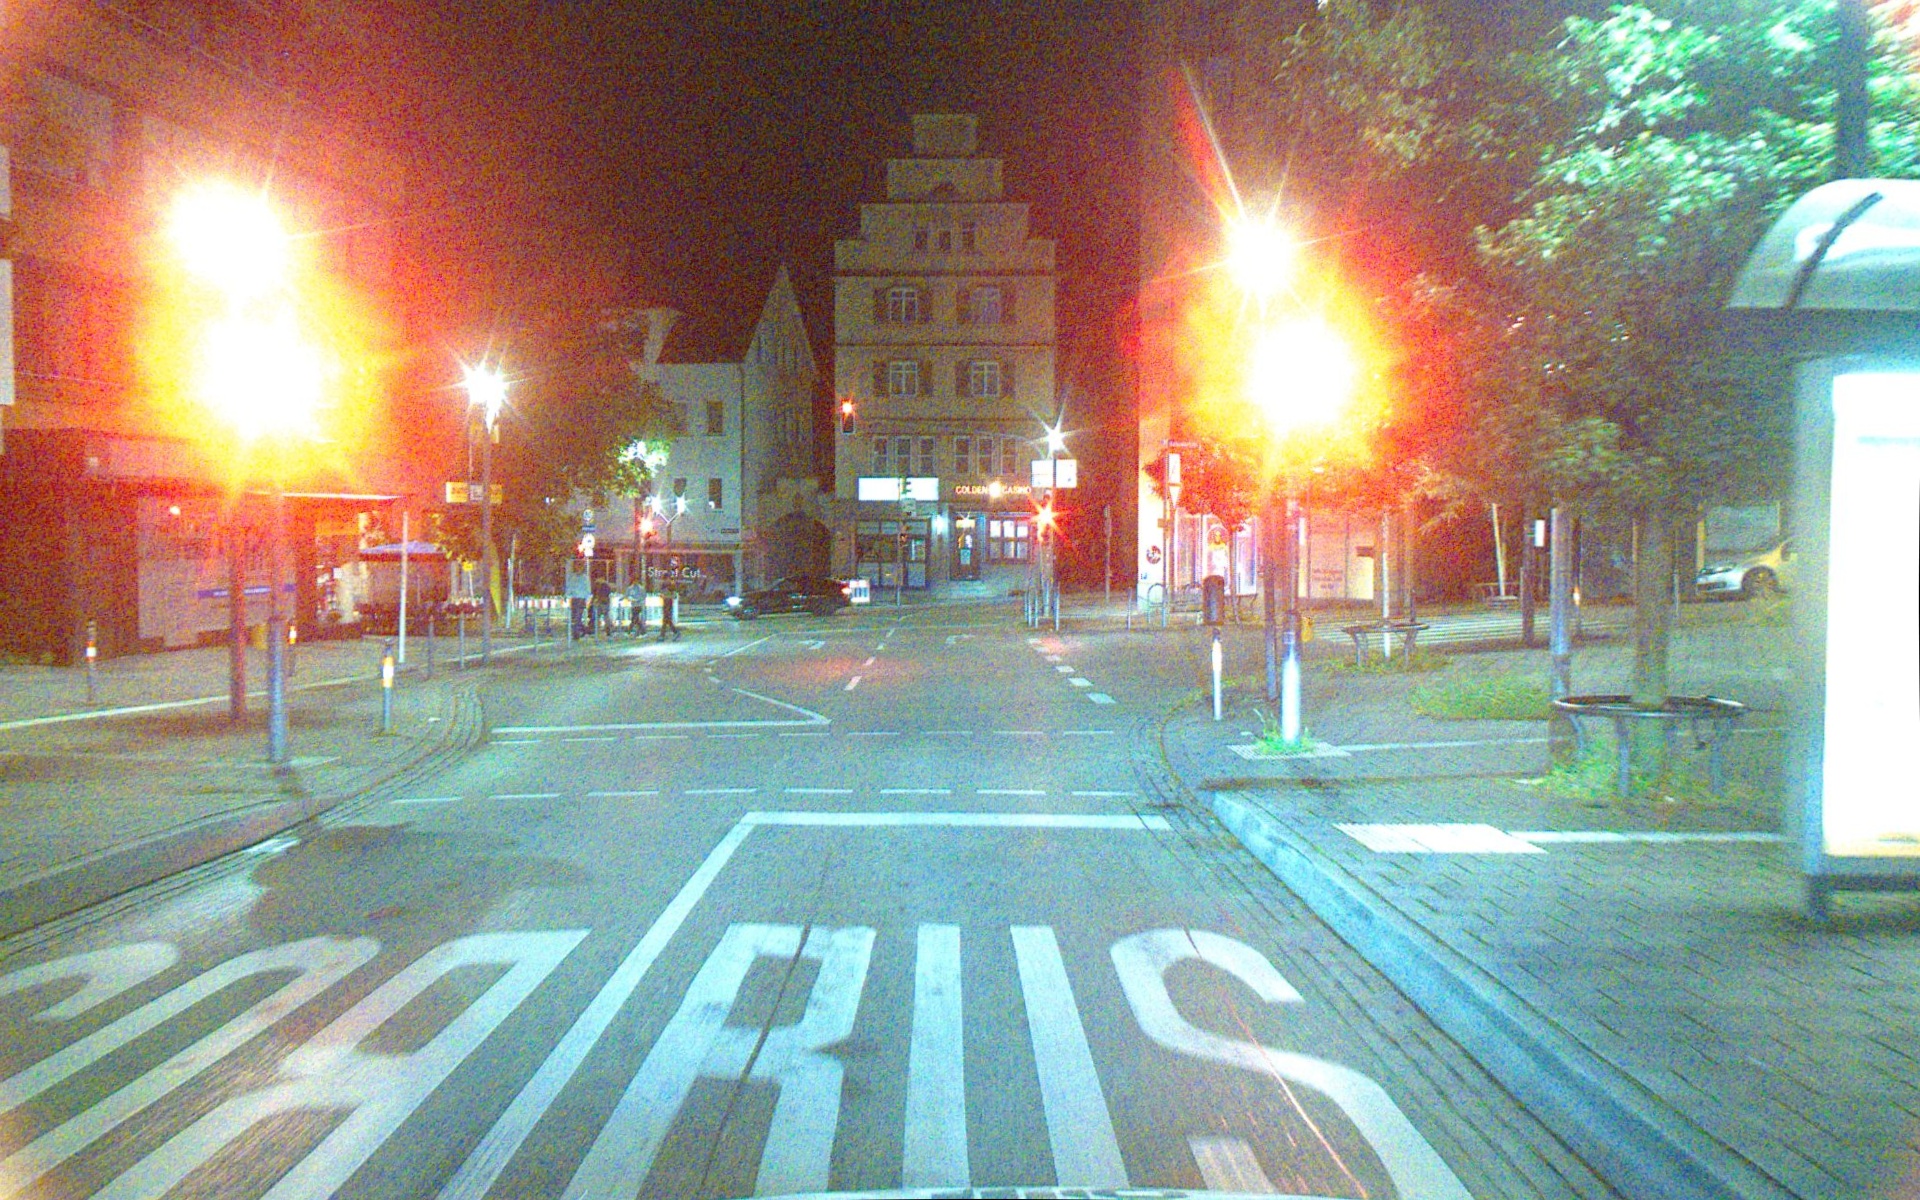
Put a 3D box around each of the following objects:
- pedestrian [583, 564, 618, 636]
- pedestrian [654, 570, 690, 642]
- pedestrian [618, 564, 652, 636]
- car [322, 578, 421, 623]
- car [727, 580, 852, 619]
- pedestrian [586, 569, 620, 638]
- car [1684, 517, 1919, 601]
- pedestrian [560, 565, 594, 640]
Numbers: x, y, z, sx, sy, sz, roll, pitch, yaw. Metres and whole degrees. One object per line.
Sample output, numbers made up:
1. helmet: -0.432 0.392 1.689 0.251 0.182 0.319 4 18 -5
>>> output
1. pedestrian: -9.274 0.006 42.635 0.700 1.827 0.570 1 -1 6
2. pedestrian: -7.386 0.153 42.423 0.726 1.827 0.712 1 -1 -27
3. pedestrian: -8.407 0.008 42.806 0.700 1.827 0.570 1 -1 6
4. car: -22.439 0.020 63.039 3.689 1.646 1.828 0 -1 37
5. car: -6.274 0.011 60.767 4.345 1.320 1.634 1 -1 -16
6. pedestrian: -9.478 0.093 43.876 0.700 1.827 0.570 1 -1 6
7. car: 17.170 -0.841 33.787 3.956 1.478 1.827 -3 1 6
8. pedestrian: -9.414 0.058 40.680 0.702 1.827 0.569 1 -1 -6
